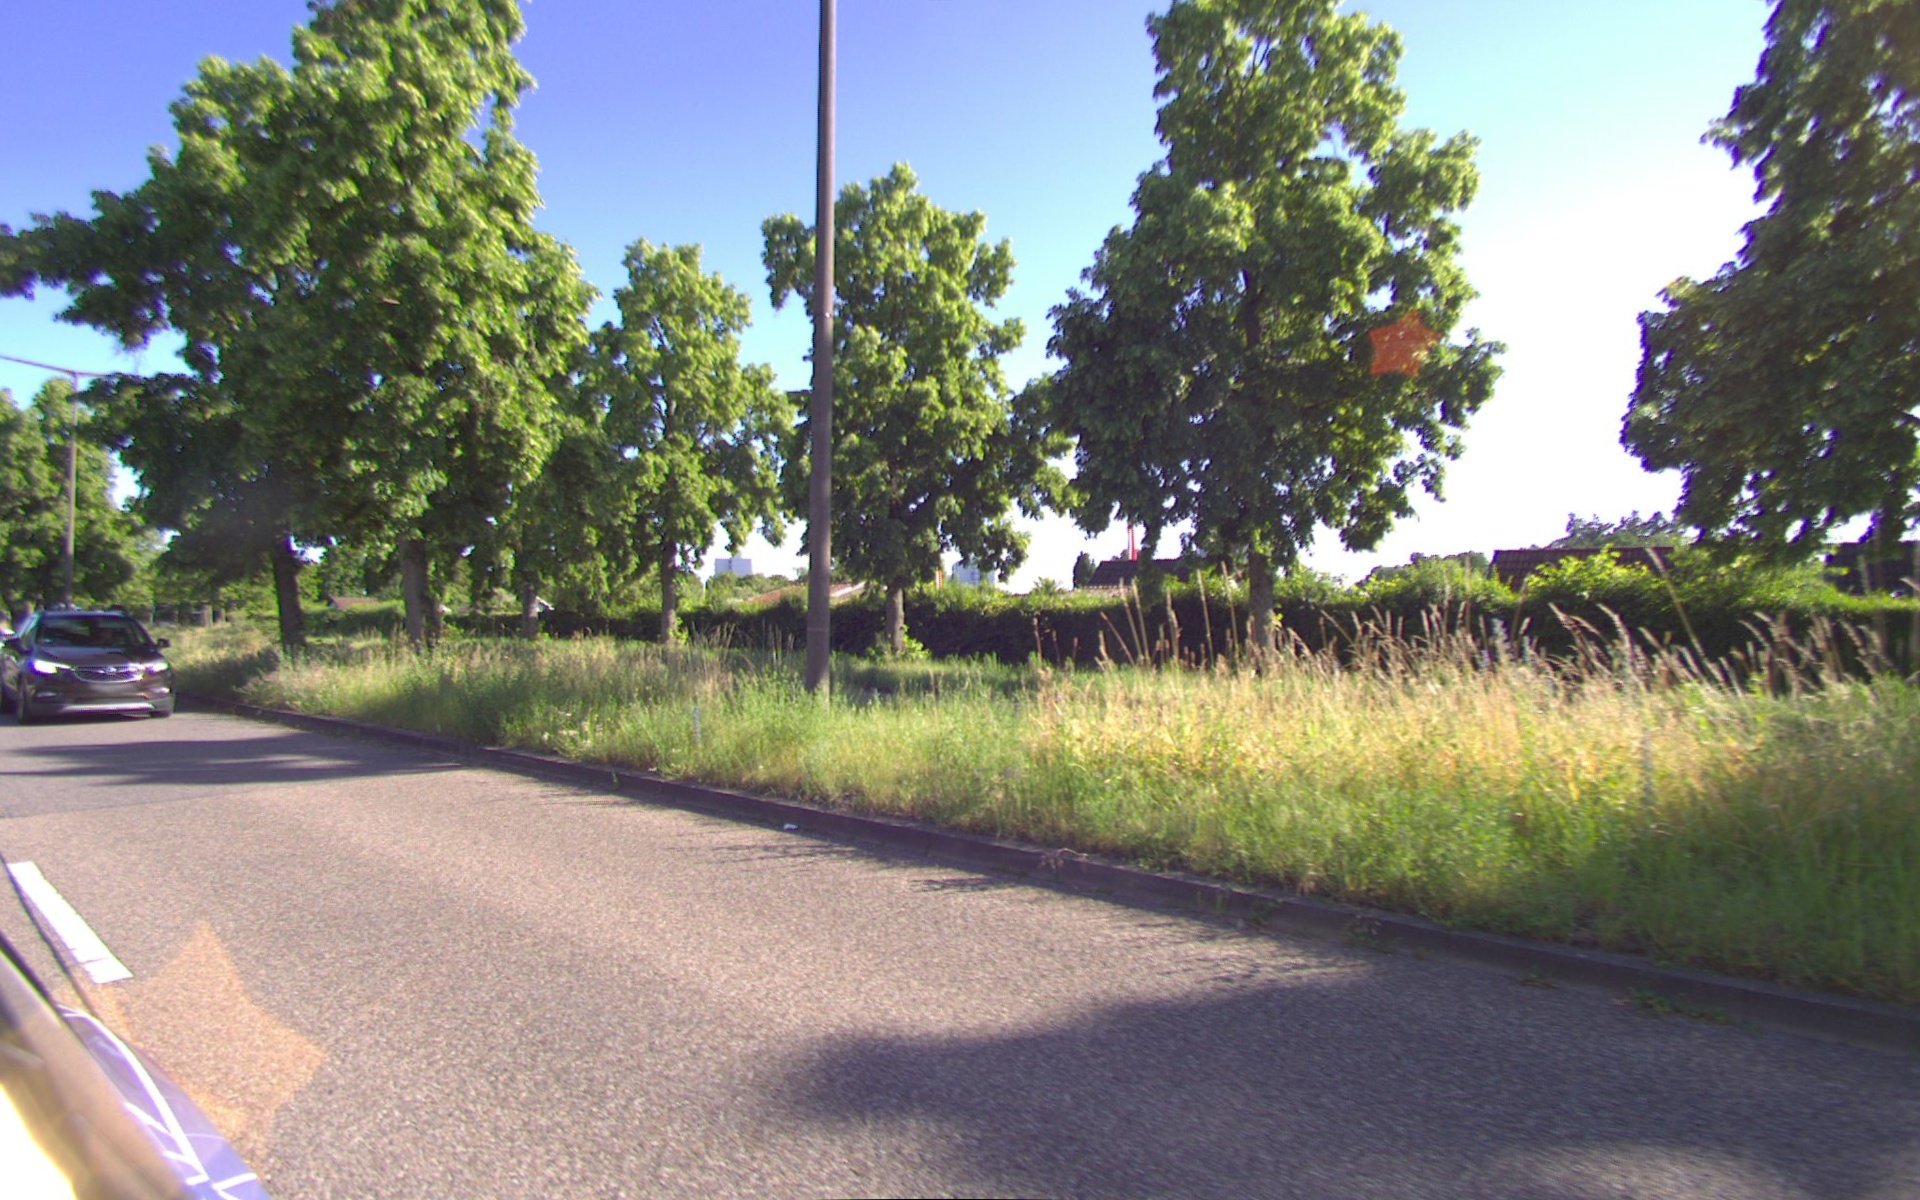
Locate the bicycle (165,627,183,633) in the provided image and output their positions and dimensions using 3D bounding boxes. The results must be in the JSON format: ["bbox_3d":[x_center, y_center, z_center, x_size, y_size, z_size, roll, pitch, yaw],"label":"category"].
[{"bbox_3d":[-97.979,3.688,126.118,0.561,0.700,1.868,0,-1,11],"label":"bicycle"}]

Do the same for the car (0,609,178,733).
[{"bbox_3d":[-13.618,1.026,15.625,3.854,1.675,1.691,-2,-3,41],"label":"car"}]

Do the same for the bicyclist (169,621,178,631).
[{"bbox_3d":[-97.996,3.260,126.087,0.578,1.266,0.574,0,-1,11],"label":"bicyclist"}]

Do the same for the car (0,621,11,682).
[{"bbox_3d":[-27.663,1.409,27.897,4.090,1.626,1.807,-2,-2,41],"label":"car"}]
